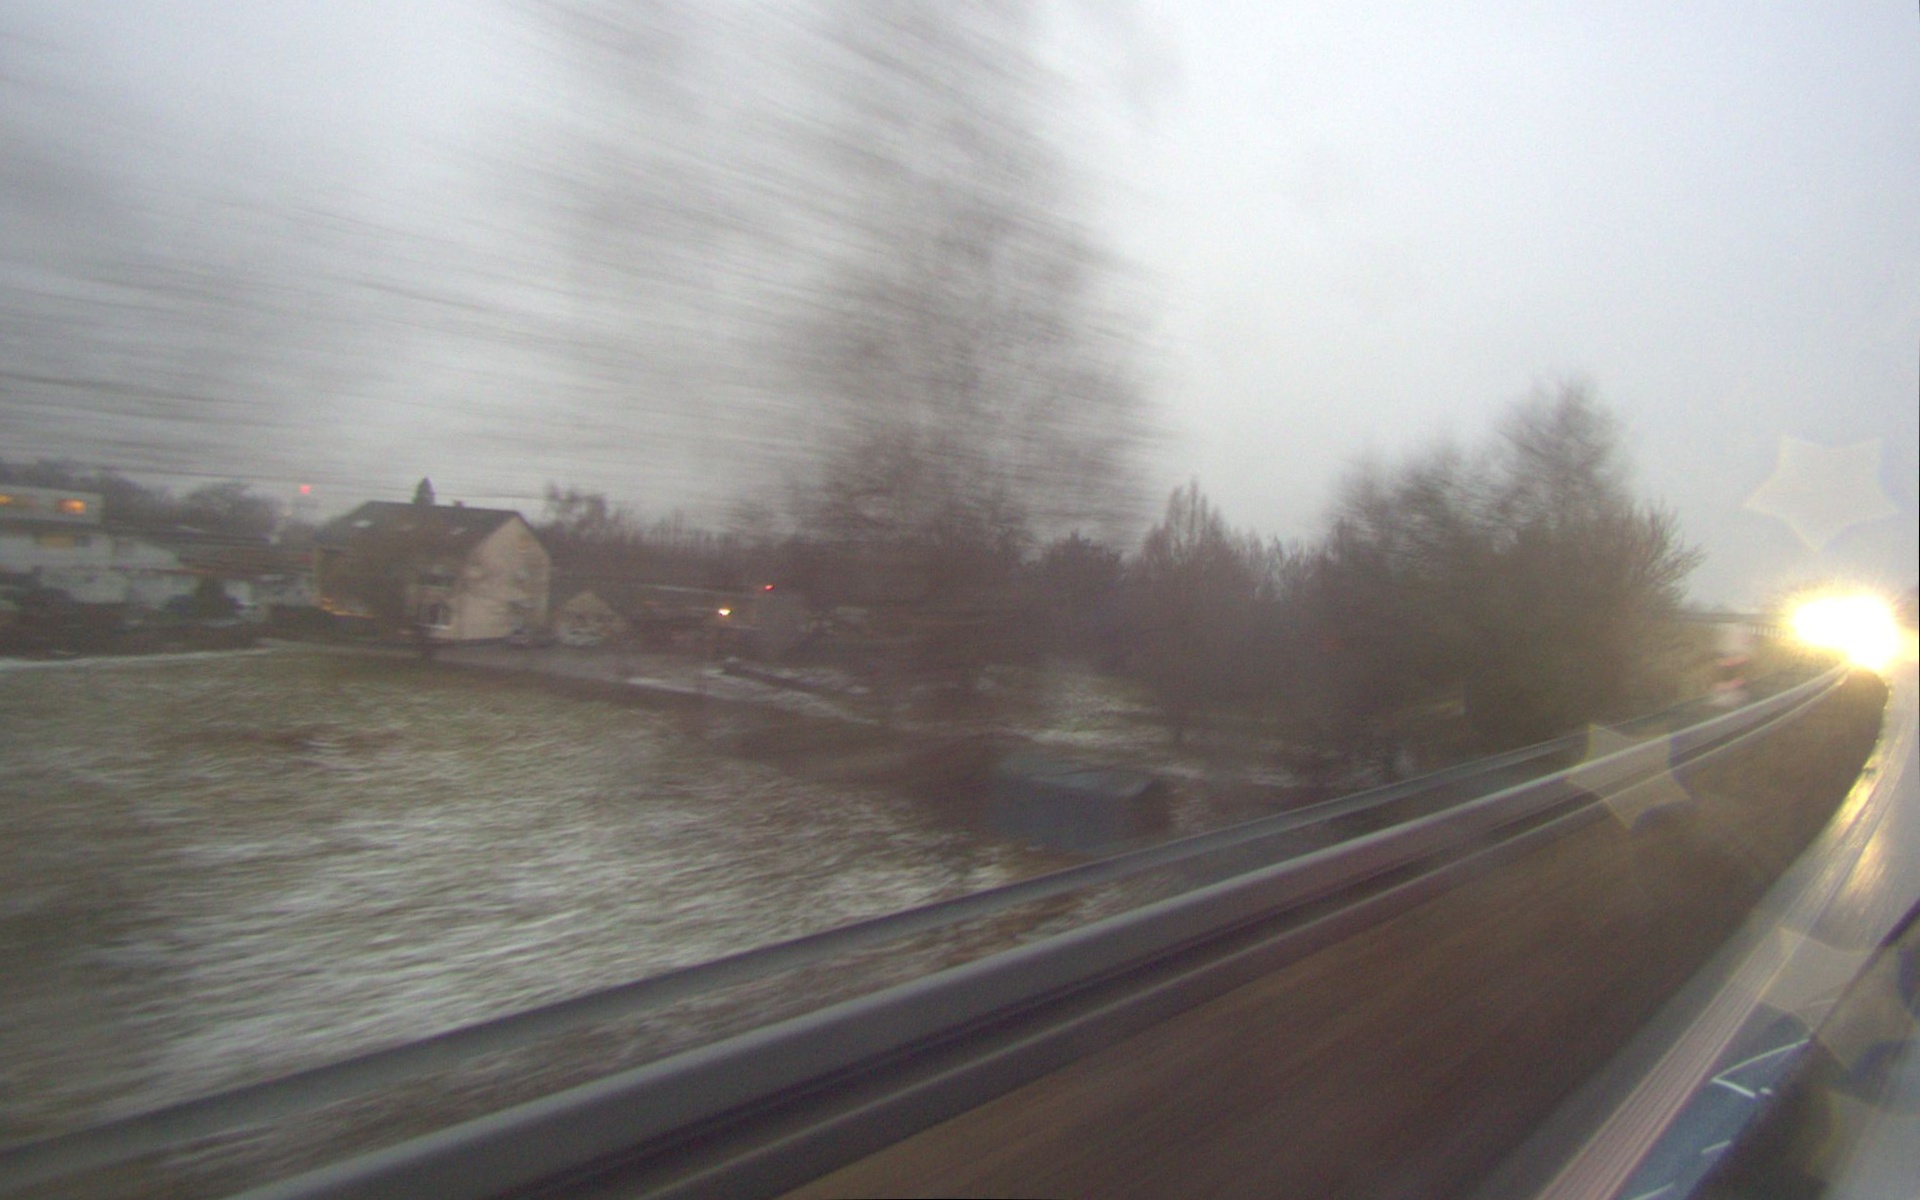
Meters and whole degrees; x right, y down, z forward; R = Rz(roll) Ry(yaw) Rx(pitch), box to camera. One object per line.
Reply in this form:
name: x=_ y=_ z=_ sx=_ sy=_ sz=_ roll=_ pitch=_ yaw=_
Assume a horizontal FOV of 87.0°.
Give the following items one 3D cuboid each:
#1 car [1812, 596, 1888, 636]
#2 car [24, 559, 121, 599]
car: x=40.916 y=0.767 z=46.636 sx=2.092 sy=1.595 sz=4.735 roll=4 pitch=1 yaw=36
car: x=-67.568 y=-1.629 z=77.104 sx=6.016 sy=2.876 sz=2.287 roll=1 pitch=0 yaw=10
